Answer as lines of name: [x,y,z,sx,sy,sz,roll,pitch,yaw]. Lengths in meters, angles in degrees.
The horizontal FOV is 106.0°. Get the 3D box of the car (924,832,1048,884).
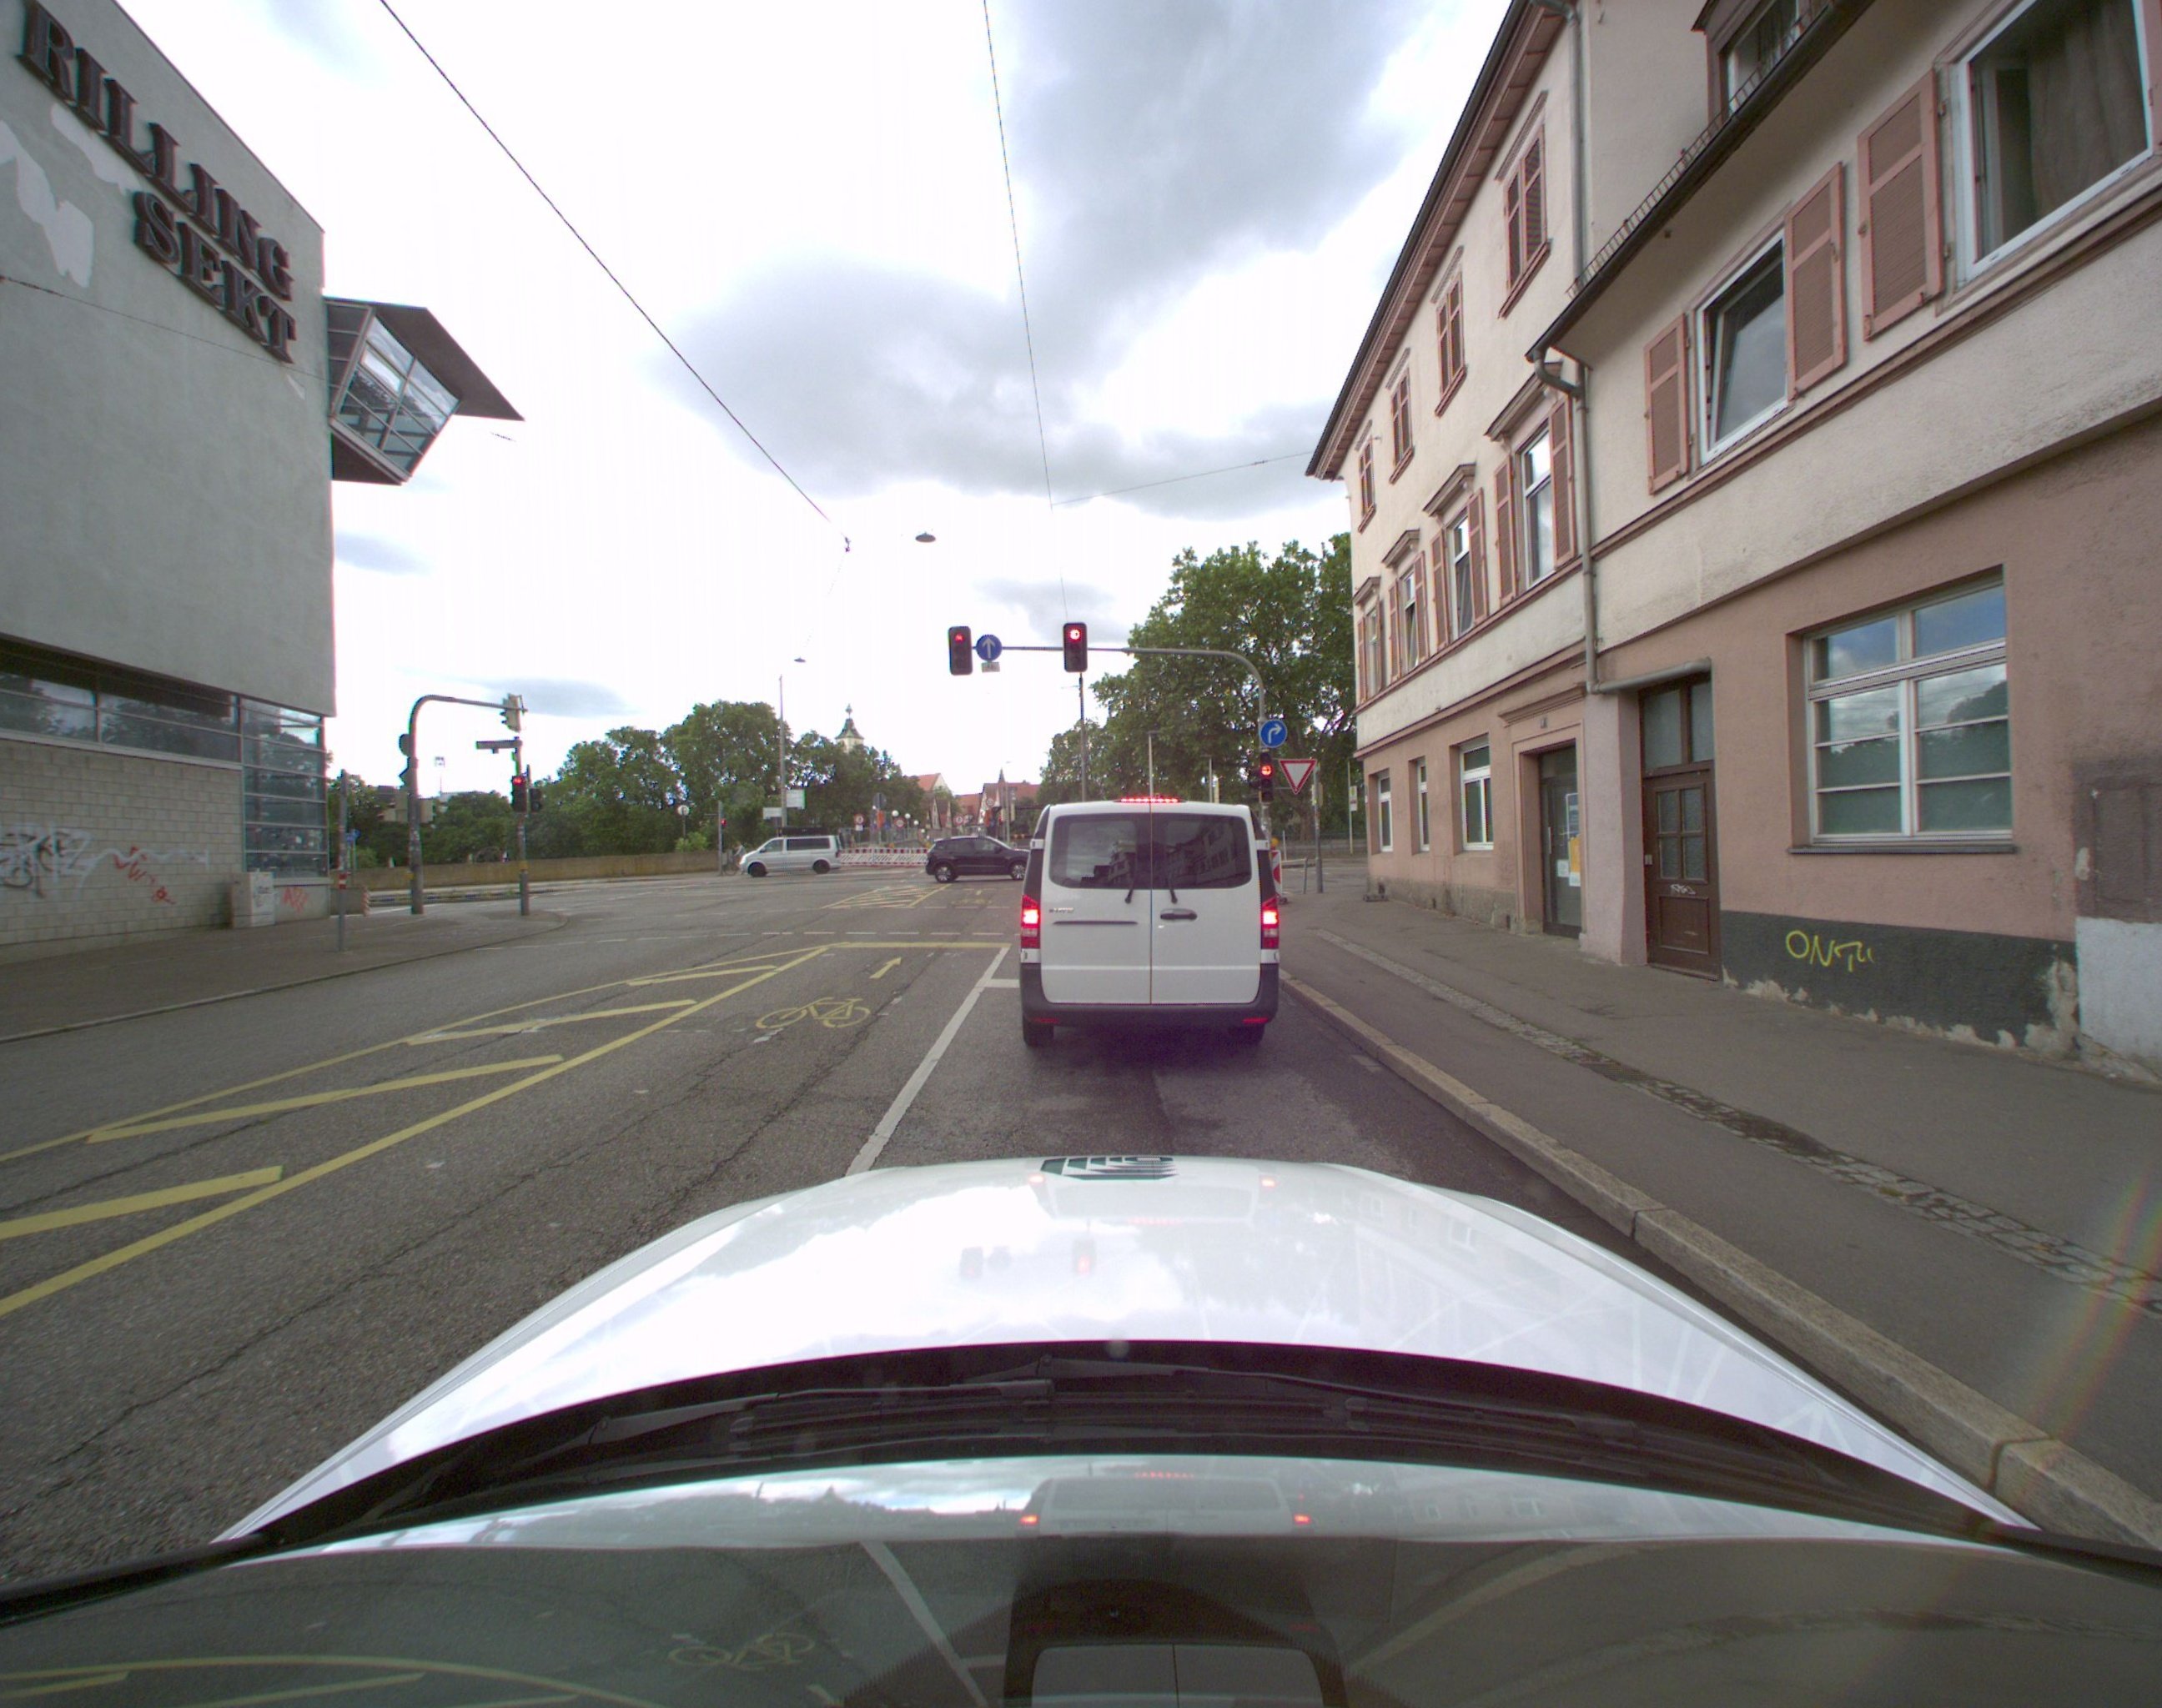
car: [-3.243,0.099,28.397,4.059,1.573,1.827,-2,2,-2]

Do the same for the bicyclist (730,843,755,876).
bicyclist: [-18.110,0.270,43.573,1.010,1.743,0.746,-2,1,-39]

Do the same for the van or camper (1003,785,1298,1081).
van or camper: [0.421,0.446,7.544,1.932,1.924,4.439,0,2,-1]

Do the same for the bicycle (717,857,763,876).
bicycle: [-18.211,0.641,43.488,2.149,0.892,0.751,-3,2,-39]

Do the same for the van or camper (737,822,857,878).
van or camper: [-14.059,-0.205,40.652,5.400,2.513,2.026,-2,-1,-15]
